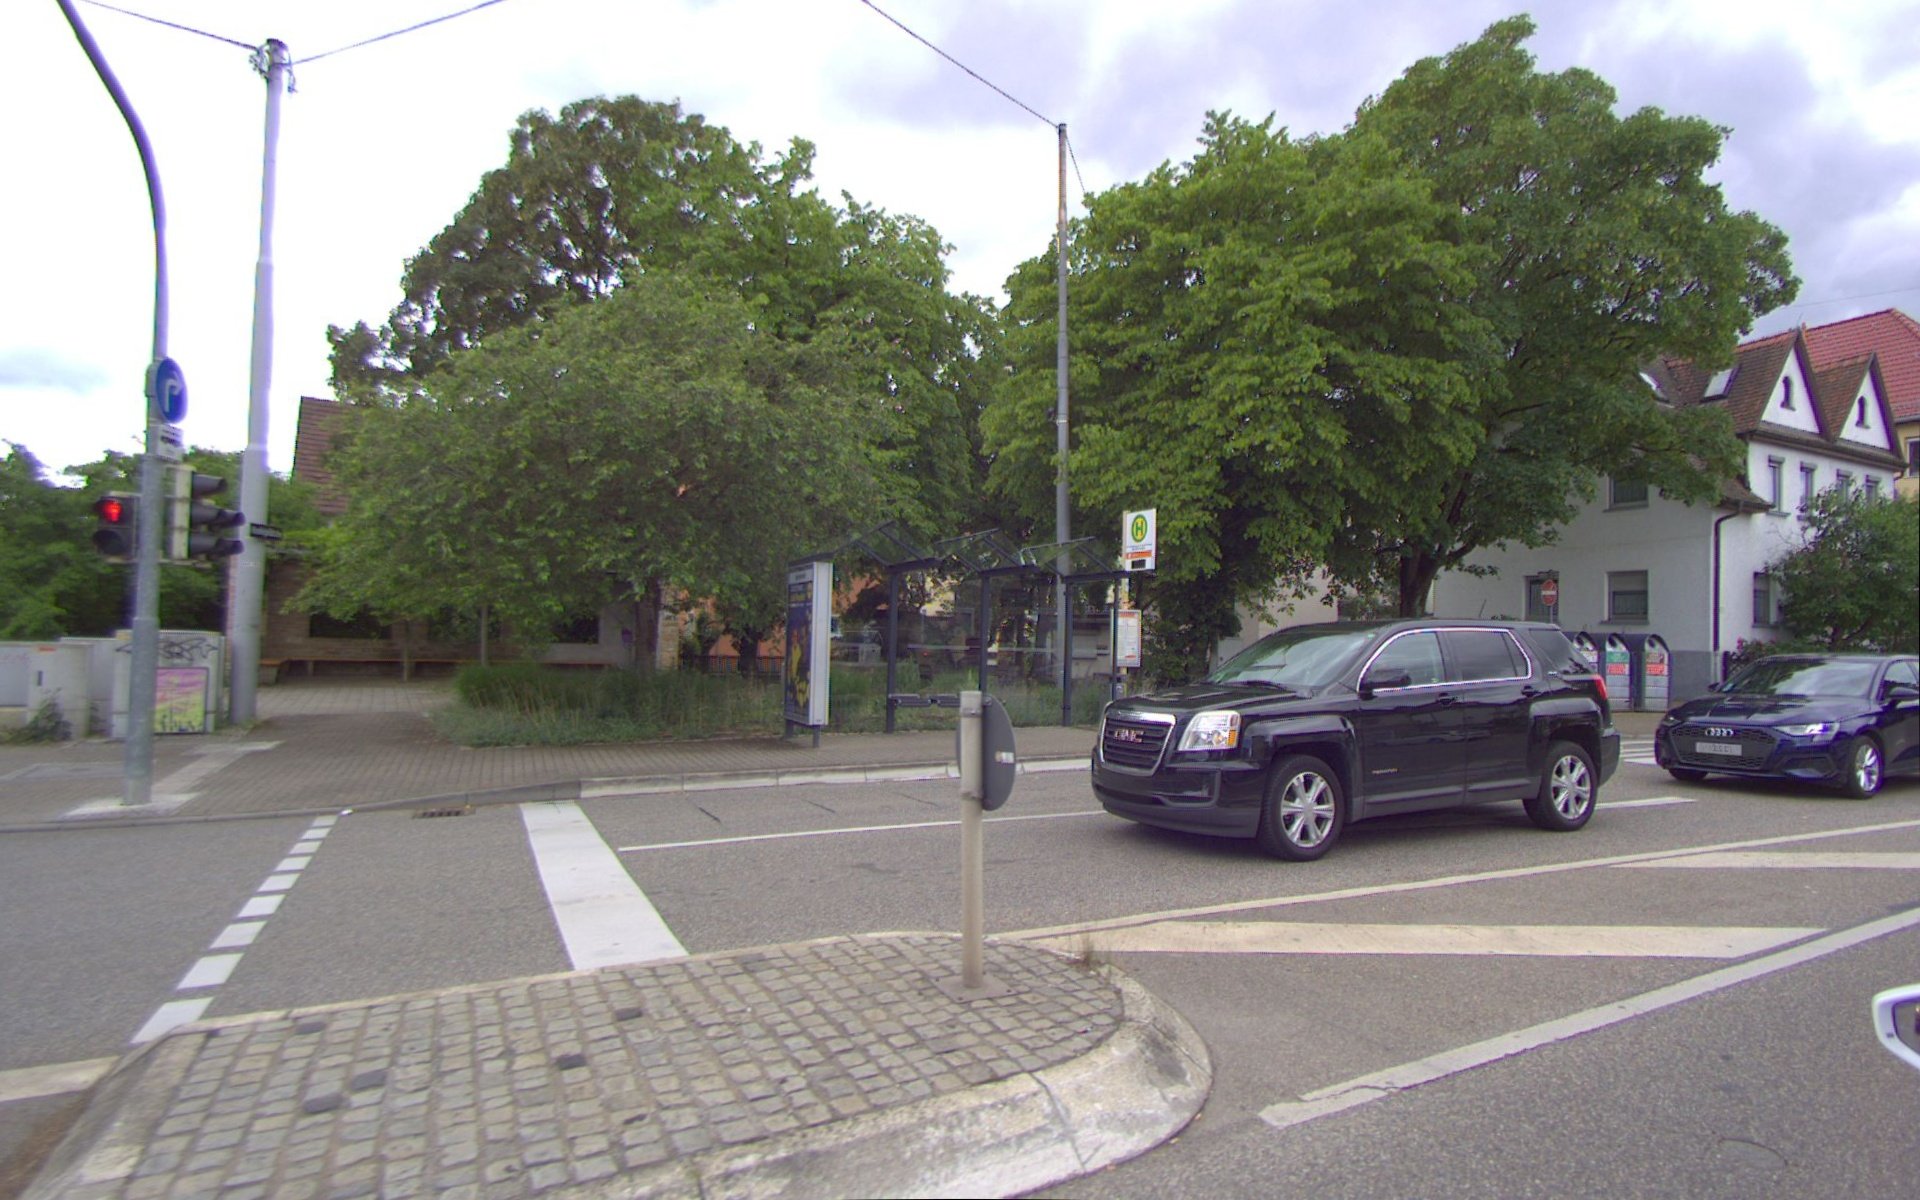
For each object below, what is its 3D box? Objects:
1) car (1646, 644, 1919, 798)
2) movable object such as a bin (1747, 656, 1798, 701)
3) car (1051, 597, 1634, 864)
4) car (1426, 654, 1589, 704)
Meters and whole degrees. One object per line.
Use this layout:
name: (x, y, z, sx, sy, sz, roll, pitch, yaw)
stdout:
car: (9.590, 1.266, 11.098, 4.077, 1.438, 1.559, 3, -3, -27)
movable object such as a bin: (20.244, 1.949, 25.051, 0.708, 1.033, 0.720, 0, 1, 7)
car: (3.124, 0.970, 8.067, 4.535, 1.656, 1.753, 3, -5, -26)
car: (16.075, 2.343, 29.719, 1.700, 1.349, 3.975, 3, -5, -26)
